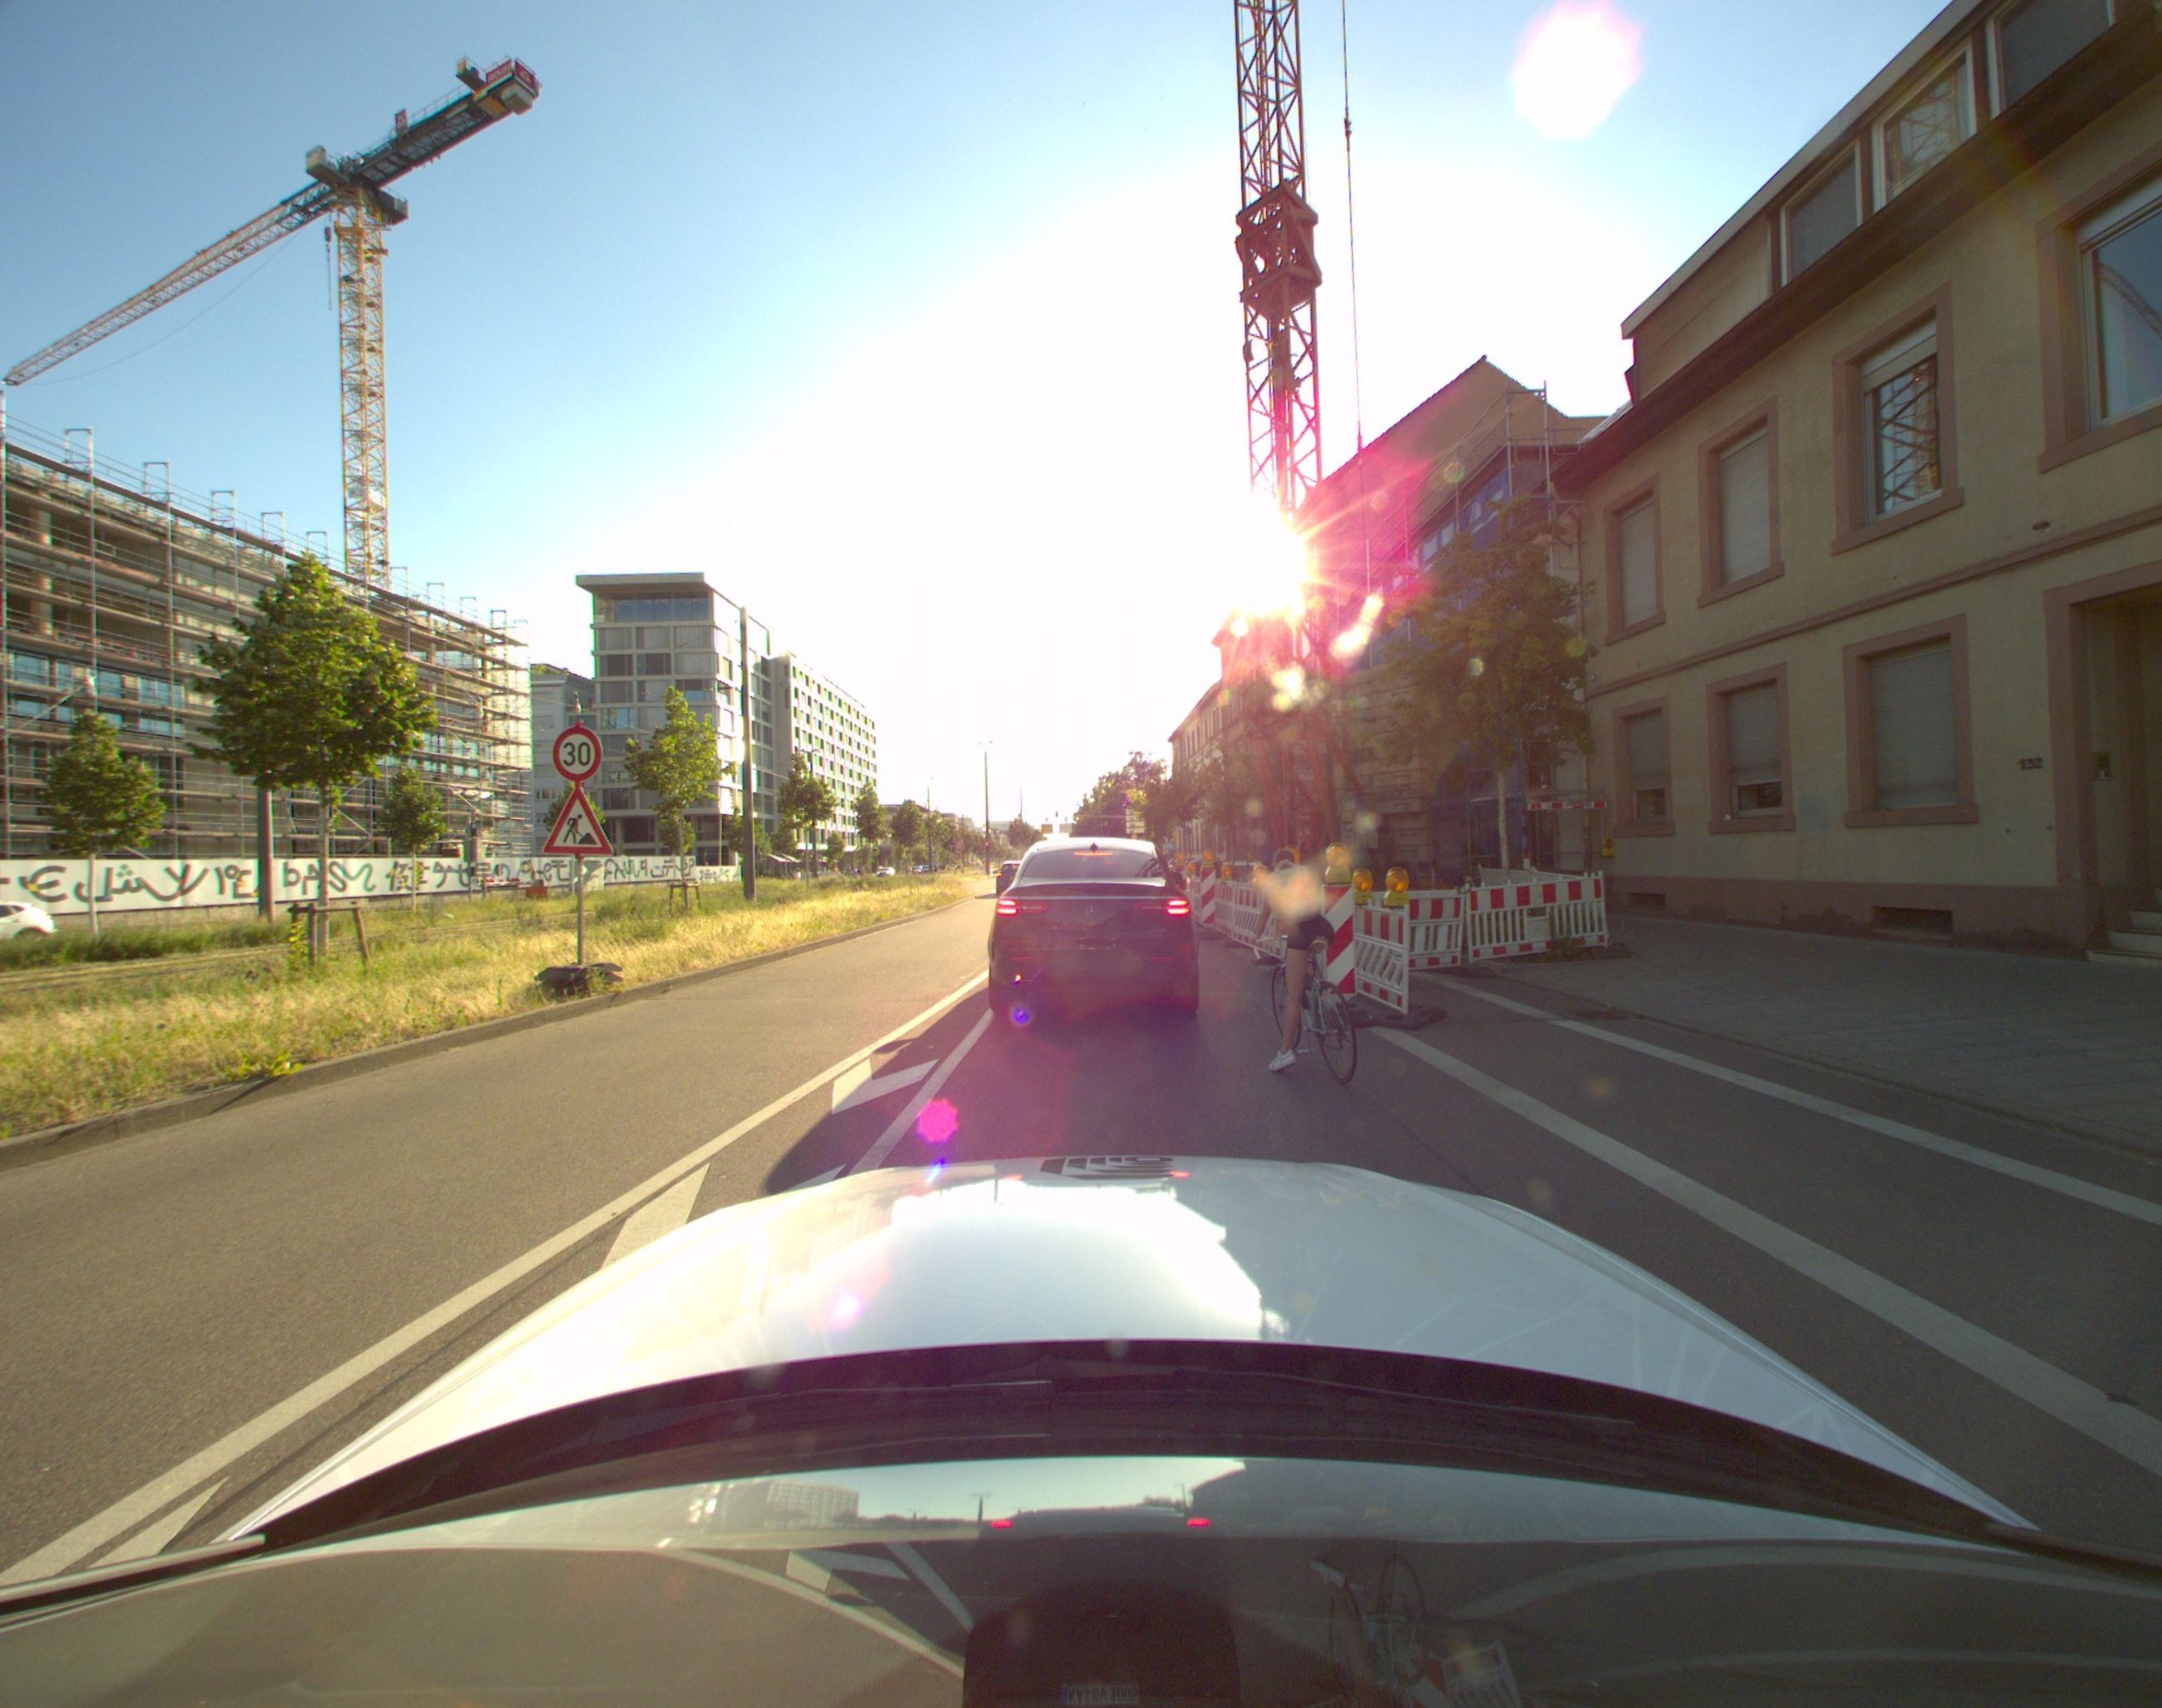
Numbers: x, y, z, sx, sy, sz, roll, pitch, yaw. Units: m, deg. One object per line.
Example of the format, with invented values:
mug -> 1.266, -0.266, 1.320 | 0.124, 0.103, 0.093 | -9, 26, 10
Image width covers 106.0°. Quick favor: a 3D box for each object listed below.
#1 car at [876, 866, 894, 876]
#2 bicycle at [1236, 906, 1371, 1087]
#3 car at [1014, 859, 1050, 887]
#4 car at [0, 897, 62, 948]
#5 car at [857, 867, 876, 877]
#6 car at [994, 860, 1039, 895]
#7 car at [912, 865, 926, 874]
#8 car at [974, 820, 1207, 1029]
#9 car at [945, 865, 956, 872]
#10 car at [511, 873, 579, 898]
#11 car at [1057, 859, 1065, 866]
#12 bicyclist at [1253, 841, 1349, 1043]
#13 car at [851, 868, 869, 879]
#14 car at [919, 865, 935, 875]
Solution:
car -> -27.970, 2.383, 116.333 | 1.703, 1.442, 3.581 | 0, -1, 0
bicycle -> 1.585, 0.962, 6.064 | 0.511, 1.052, 1.724 | 0, -1, -1
car -> -2.541, 0.974, 42.897 | 1.703, 1.442, 3.581 | 0, -1, 0
car -> -30.041, 1.914, 21.300 | 1.522, 1.310, 4.094 | -1, 0, 2
car -> -30.506, 2.571, 116.052 | 1.703, 1.442, 3.581 | 0, -1, 0
car -> -2.758, 0.985, 35.542 | 1.703, 1.442, 3.581 | 0, -1, 0
car -> -27.589, 2.692, 138.792 | 1.703, 1.442, 3.581 | 0, -1, 0
car -> 0.144, 0.619, 8.969 | 1.986, 1.772, 4.001 | 0, -1, 2
car -> -25.711, 2.853, 160.581 | 1.703, 1.442, 3.581 | 0, -1, 0
car -> -32.356, 1.879, 49.281 | 1.703, 1.442, 3.581 | 0, -1, 0
car -> -4.528, 1.905, 184.795 | 1.703, 1.442, 3.581 | 0, -1, 0
bicyclist -> 1.590, 0.609, 5.951 | 0.521, 1.395, 0.614 | 0, -1, -1
car -> -32.178, 2.814, 118.535 | 1.703, 1.442, 3.581 | 0, -1, 0
car -> -22.349, 2.357, 118.372 | 1.703, 1.442, 3.581 | 0, -1, 0
